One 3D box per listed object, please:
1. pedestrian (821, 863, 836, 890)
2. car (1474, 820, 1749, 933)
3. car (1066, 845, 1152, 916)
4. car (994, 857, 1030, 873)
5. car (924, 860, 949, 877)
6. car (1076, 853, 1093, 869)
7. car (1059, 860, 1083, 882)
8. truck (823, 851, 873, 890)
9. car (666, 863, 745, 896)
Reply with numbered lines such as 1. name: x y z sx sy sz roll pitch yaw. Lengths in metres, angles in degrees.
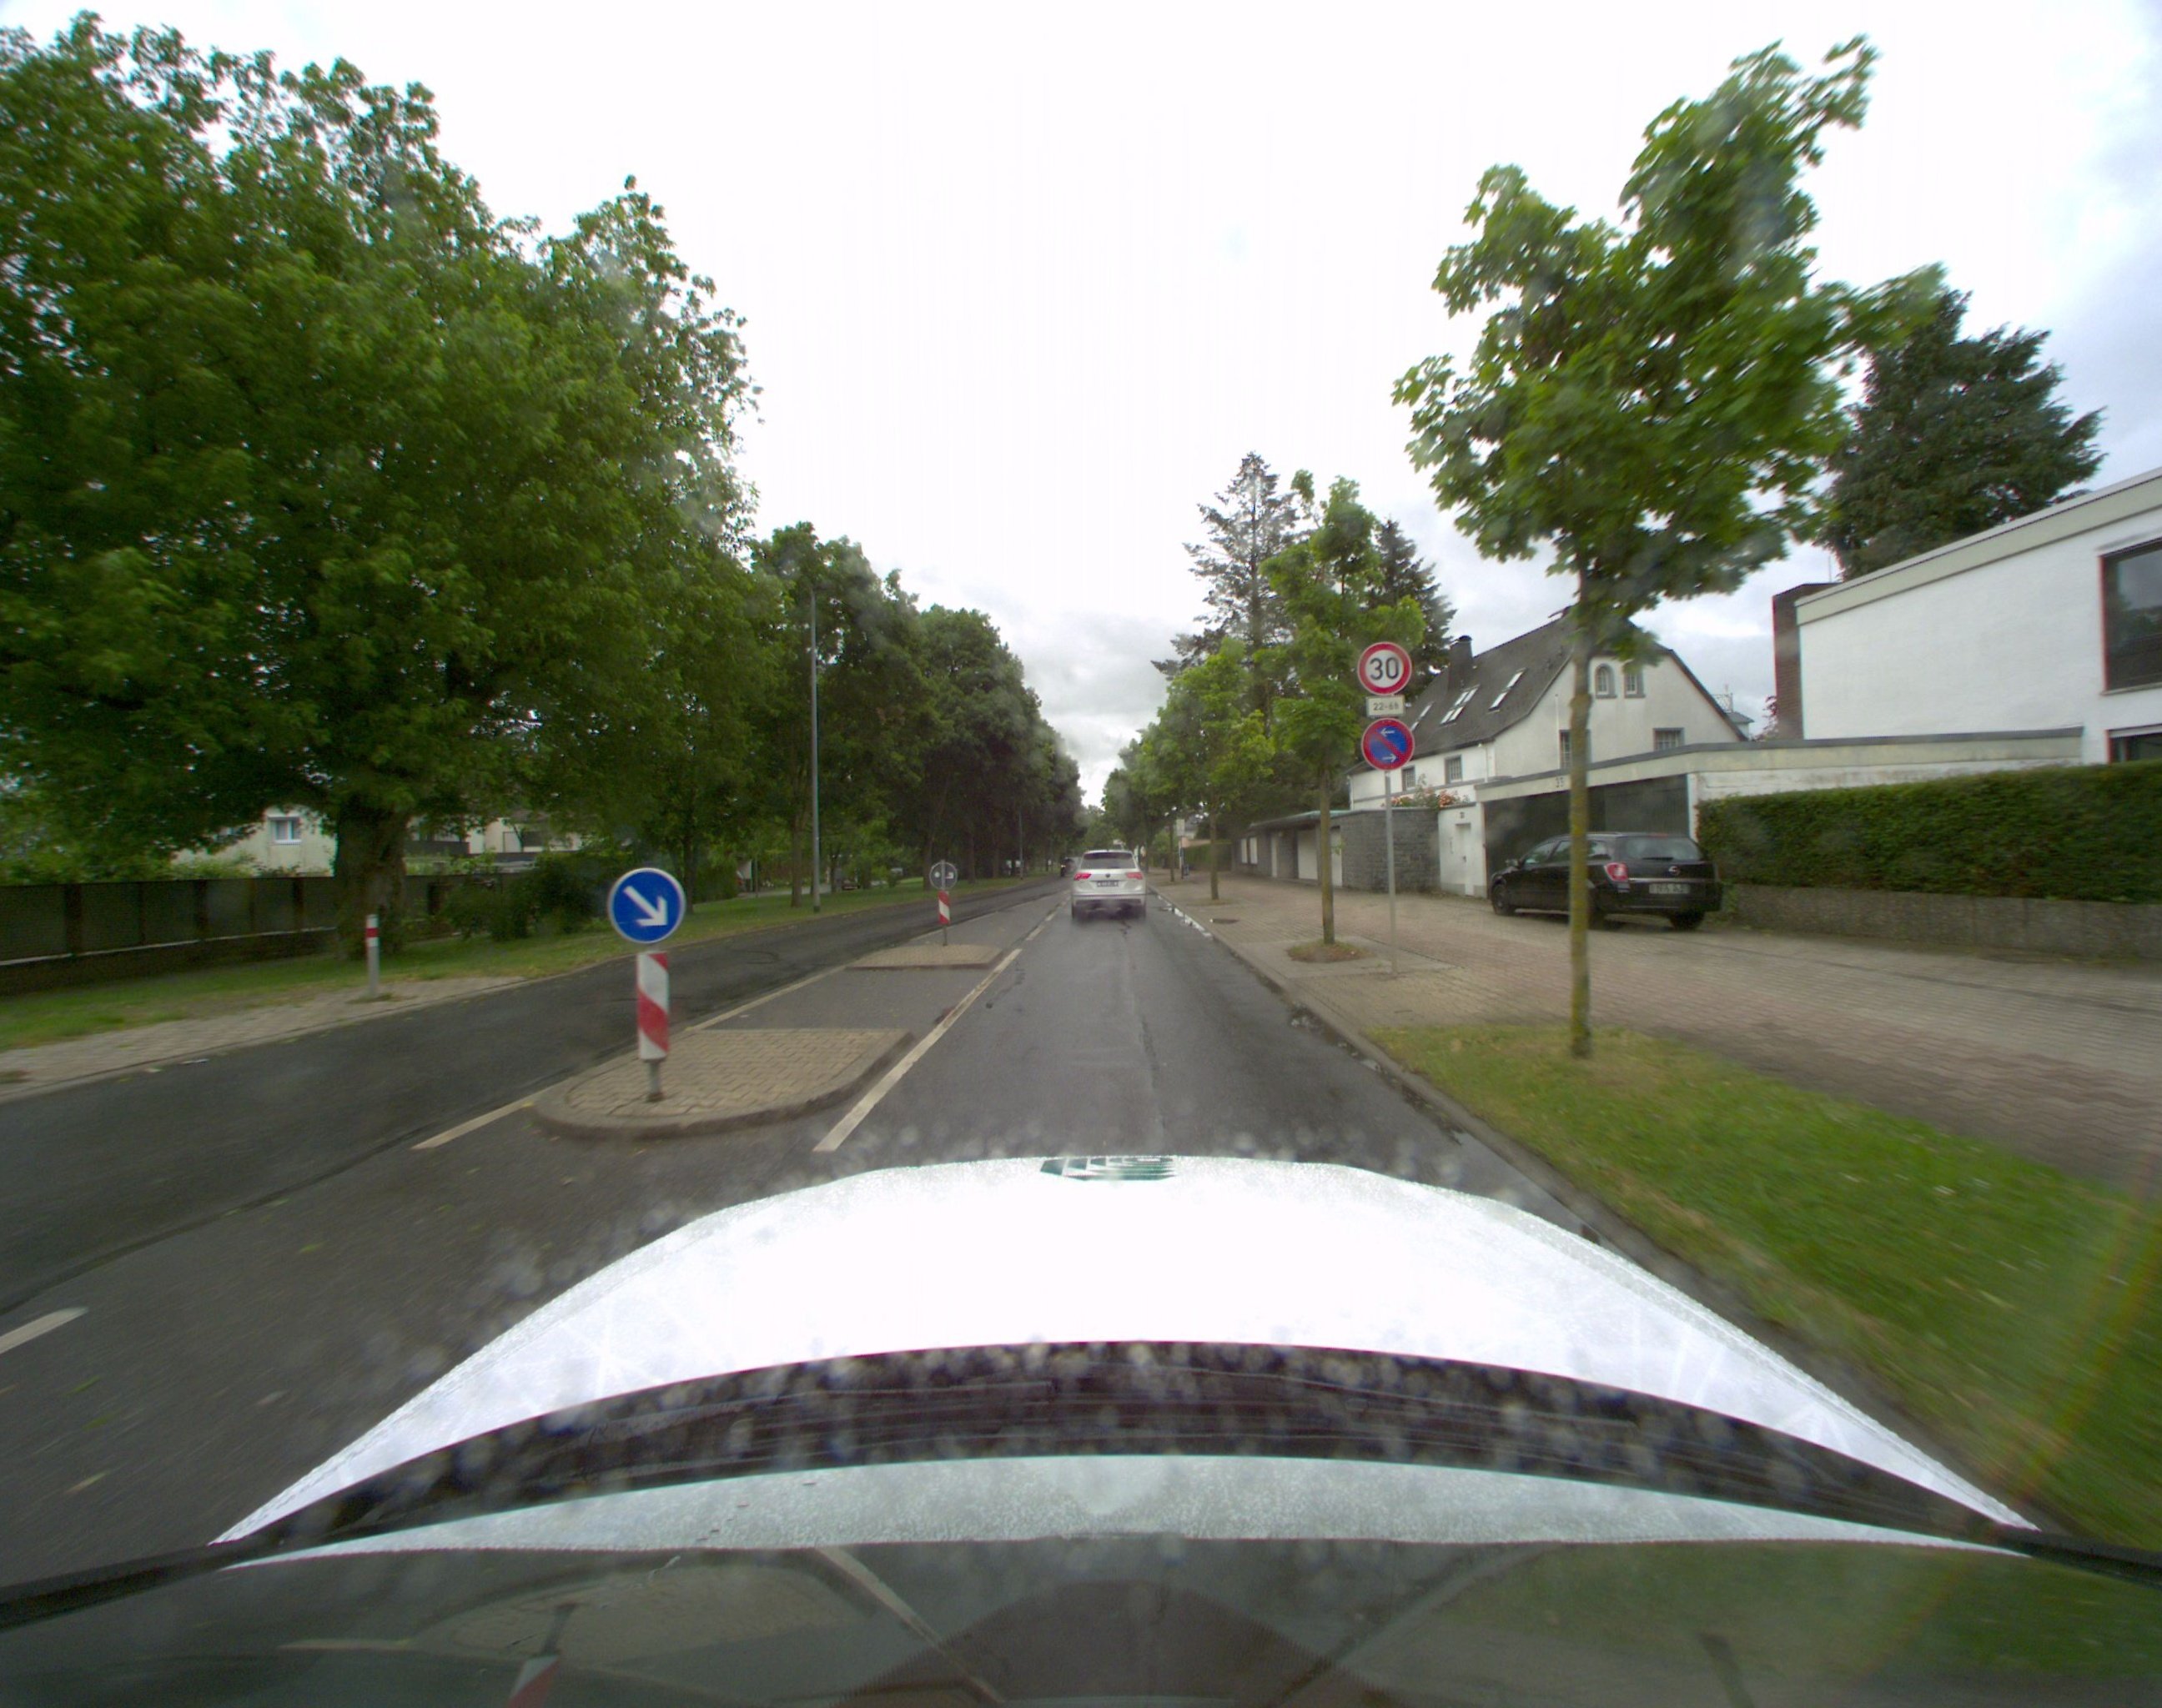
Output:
1. pedestrian: -17.534 1.539 56.527 0.707 1.840 0.823 -2 0 -4
2. car: 8.447 0.305 13.573 1.764 1.498 4.548 -3 0 3
3. car: 0.639 0.608 20.761 1.990 1.632 3.999 0 0 0
4. car: -6.871 1.073 81.067 1.854 1.482 3.959 -2 0 -33
5. car: -13.864 1.357 78.125 1.846 1.482 3.976 -2 0 -18
6. car: 0.409 0.752 90.023 1.749 1.648 4.002 -1 0 2
7. car: -0.787 1.375 67.195 1.808 1.648 4.001 -1 0 1
8. truck: -17.102 1.170 60.052 2.281 2.597 5.865 -2 0 -4
9. car: -23.116 1.563 50.322 3.985 1.816 1.874 -2 0 -9
